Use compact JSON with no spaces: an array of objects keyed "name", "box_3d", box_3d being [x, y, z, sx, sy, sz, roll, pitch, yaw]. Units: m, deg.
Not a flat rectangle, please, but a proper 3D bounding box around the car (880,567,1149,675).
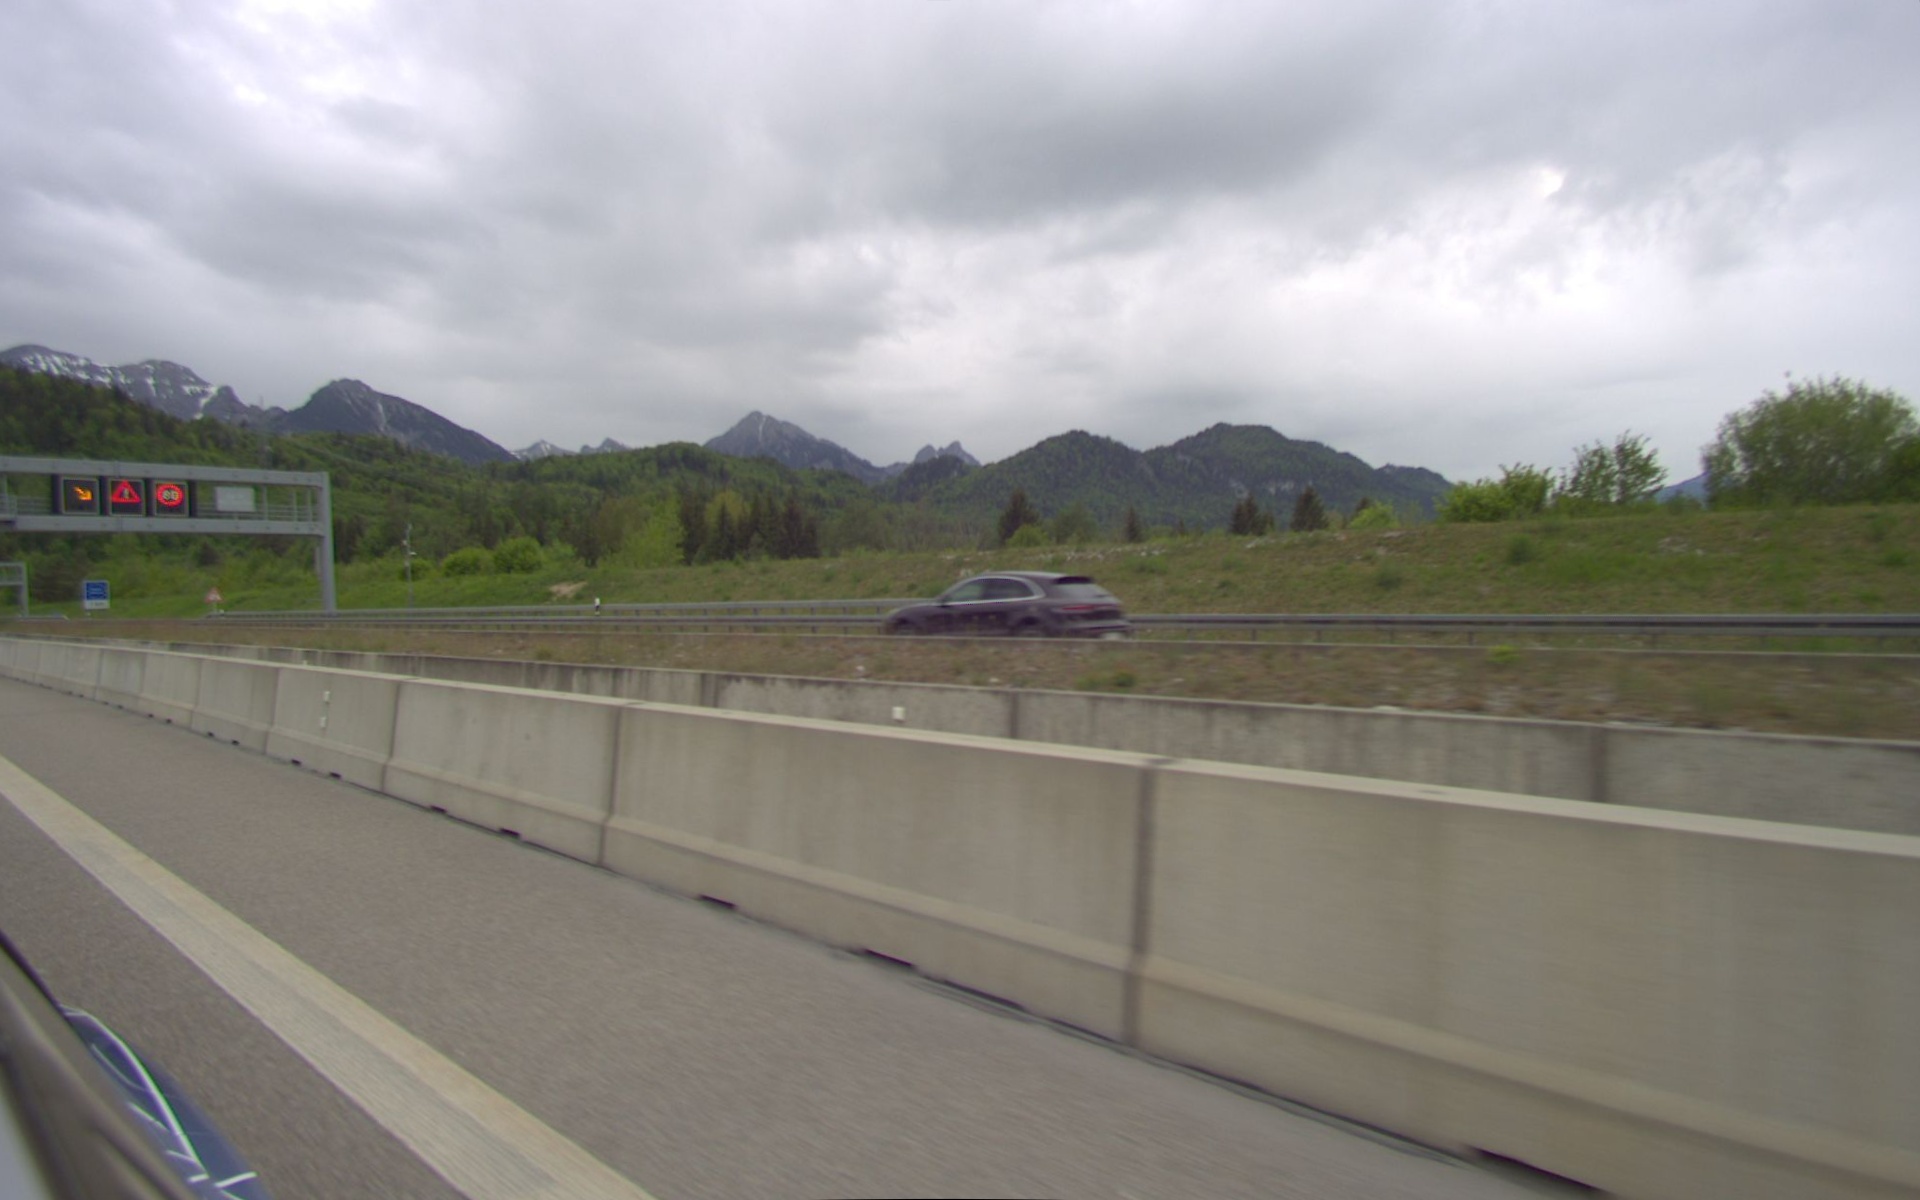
[{"name":"car","box_3d":[0.825,0.332,17.212,4.402,1.620,1.750,-1,0,40]}]
